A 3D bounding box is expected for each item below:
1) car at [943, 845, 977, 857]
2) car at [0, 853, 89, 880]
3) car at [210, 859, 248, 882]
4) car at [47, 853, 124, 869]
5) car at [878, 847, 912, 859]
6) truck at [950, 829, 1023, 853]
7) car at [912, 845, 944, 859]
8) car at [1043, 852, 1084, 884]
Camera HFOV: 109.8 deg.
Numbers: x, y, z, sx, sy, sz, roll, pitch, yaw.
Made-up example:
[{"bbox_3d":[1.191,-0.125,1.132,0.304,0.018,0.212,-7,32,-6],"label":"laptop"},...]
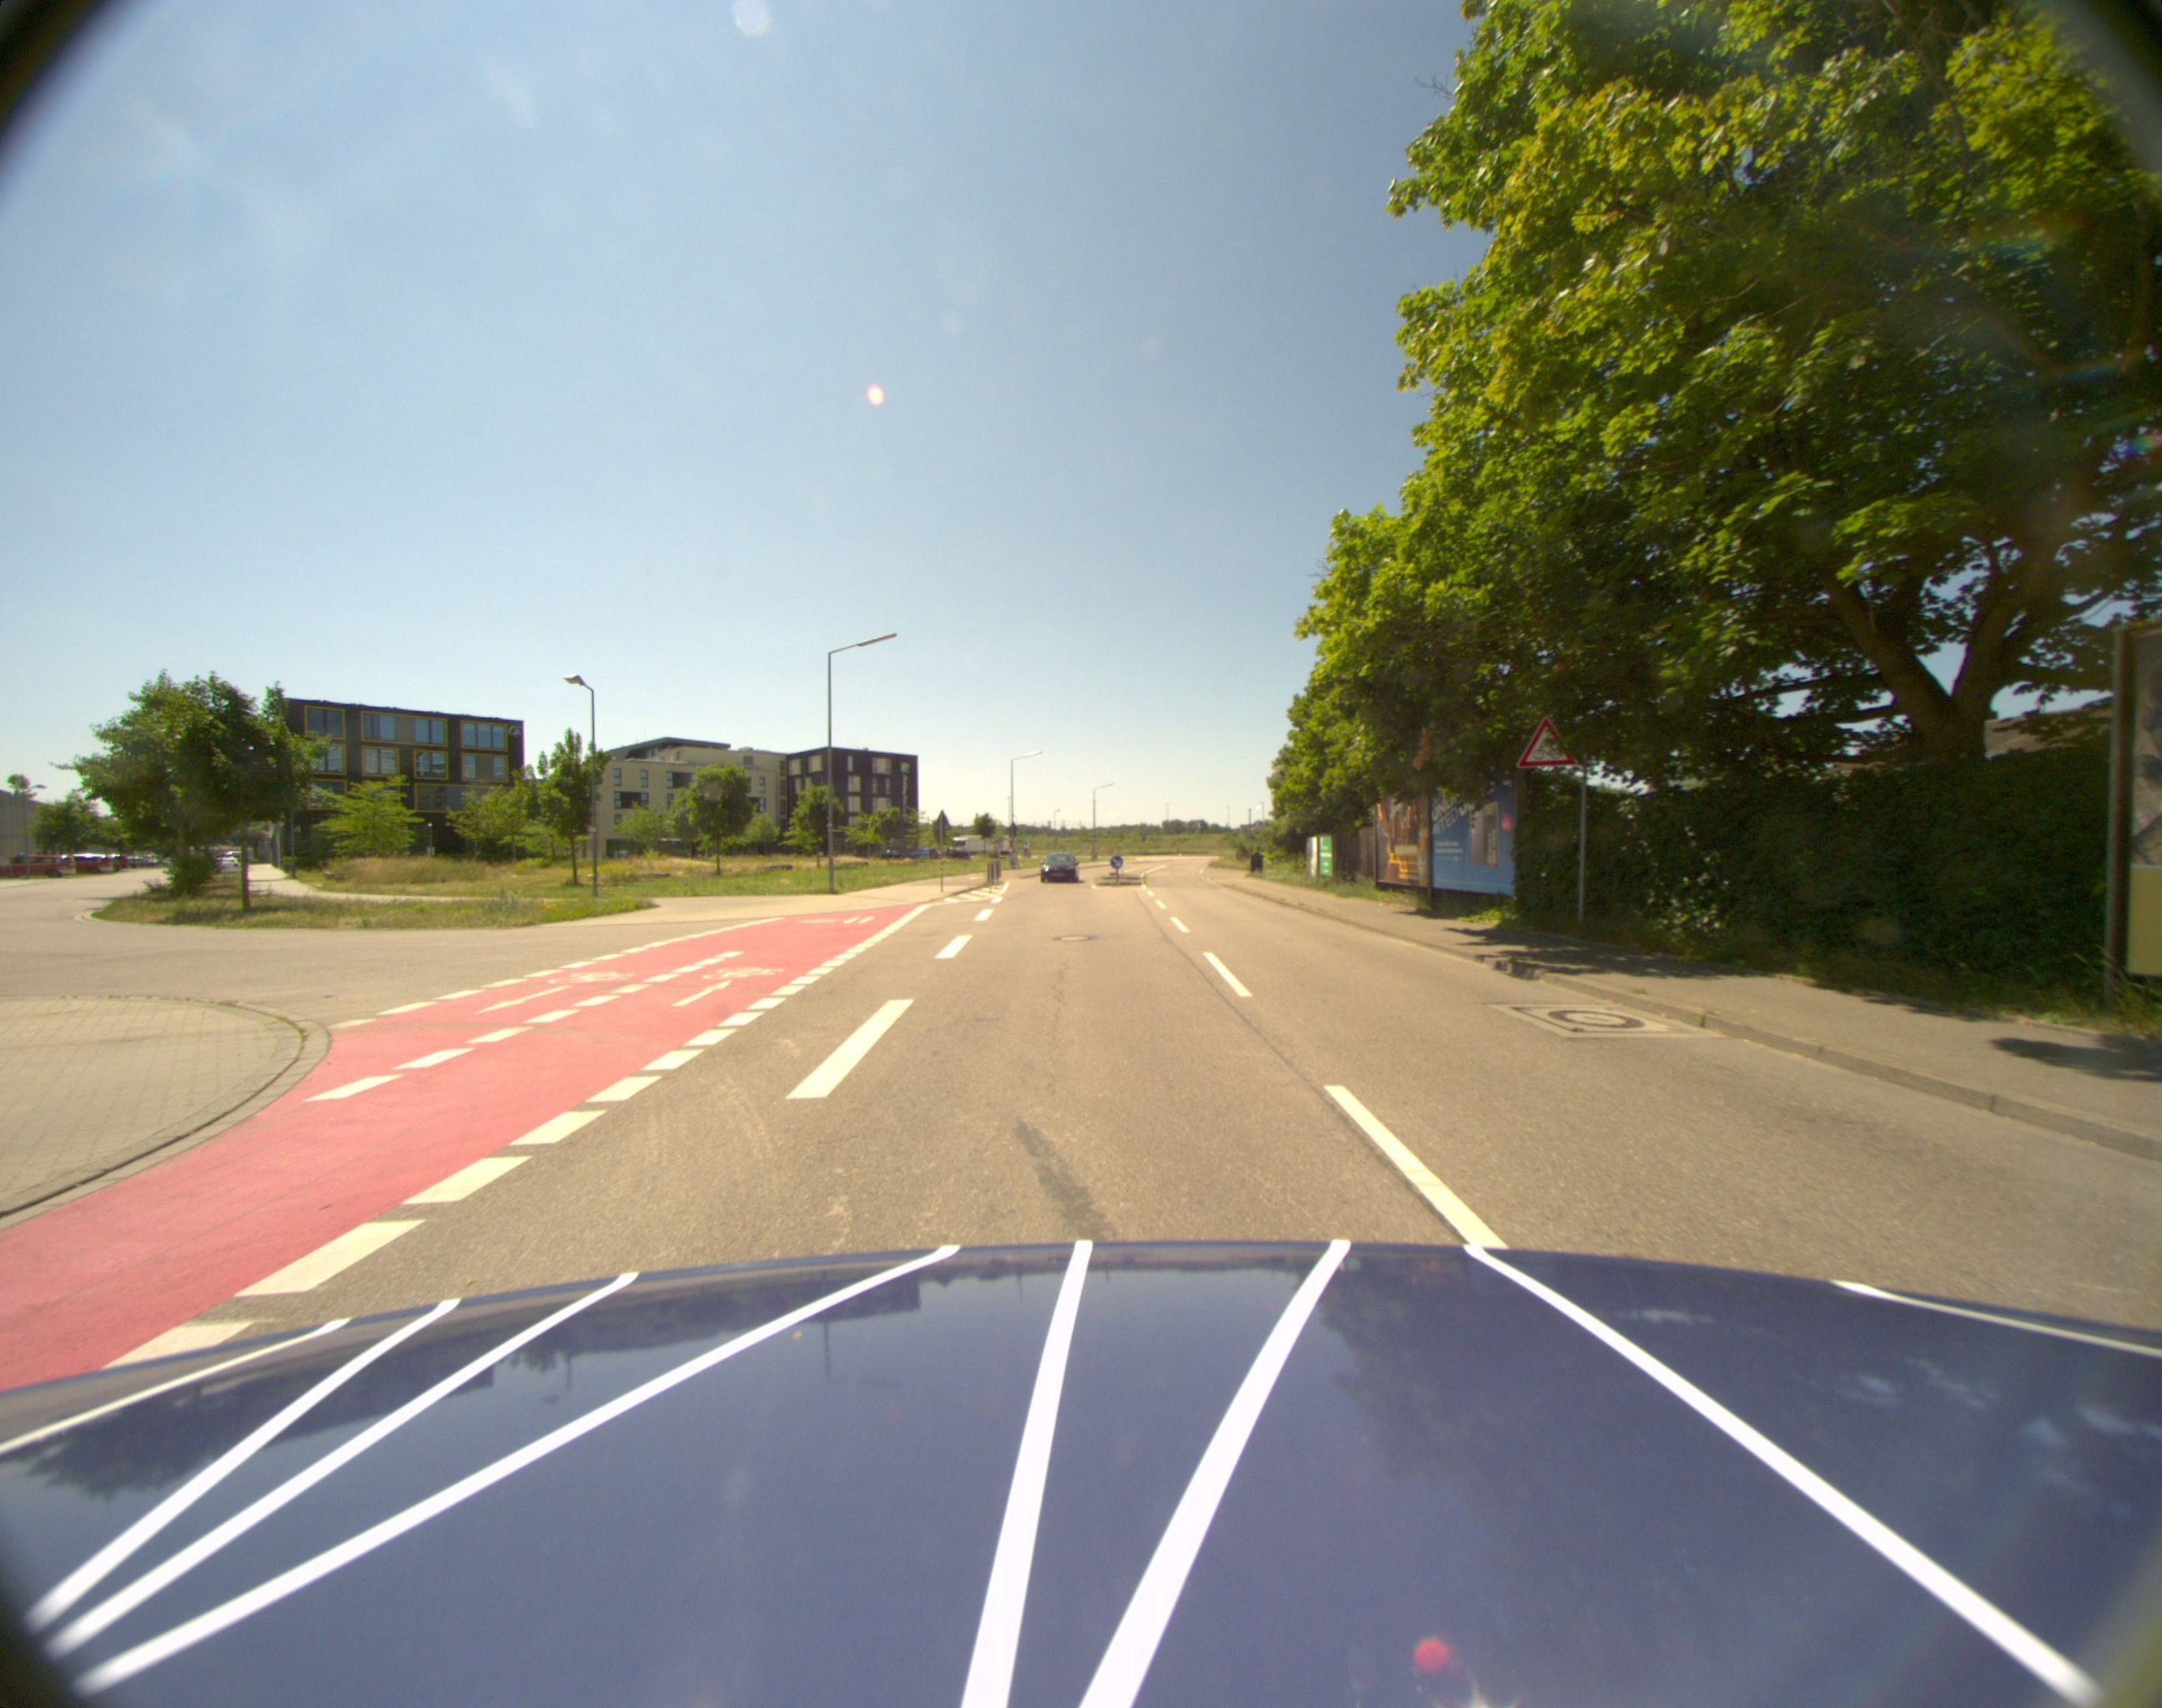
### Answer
[{"bbox_3d":[-16.111,-0.431,100.842,4.494,1.553,2.036,0,1,41],"label":"car"},{"bbox_3d":[-86.791,0.992,63.070,2.230,2.103,5.171,0,2,44],"label":"car"},{"bbox_3d":[-75.906,1.501,67.739,3.483,1.917,1.964,-1,1,44],"label":"car"},{"bbox_3d":[-99.444,0.671,75.969,1.798,1.501,4.534,0,1,40],"label":"car"},{"bbox_3d":[-23.079,-0.124,94.142,4.114,1.436,1.966,0,1,37],"label":"car"},{"bbox_3d":[-14.617,-2.075,118.868,3.009,3.442,12.164,3,3,44],"label":"truck"},{"bbox_3d":[-19.663,-0.271,97.789,4.059,1.642,1.959,1,1,42],"label":"car"},{"bbox_3d":[-0.814,0.635,37.452,1.653,1.458,4.160,0,1,3],"label":"car"}]
